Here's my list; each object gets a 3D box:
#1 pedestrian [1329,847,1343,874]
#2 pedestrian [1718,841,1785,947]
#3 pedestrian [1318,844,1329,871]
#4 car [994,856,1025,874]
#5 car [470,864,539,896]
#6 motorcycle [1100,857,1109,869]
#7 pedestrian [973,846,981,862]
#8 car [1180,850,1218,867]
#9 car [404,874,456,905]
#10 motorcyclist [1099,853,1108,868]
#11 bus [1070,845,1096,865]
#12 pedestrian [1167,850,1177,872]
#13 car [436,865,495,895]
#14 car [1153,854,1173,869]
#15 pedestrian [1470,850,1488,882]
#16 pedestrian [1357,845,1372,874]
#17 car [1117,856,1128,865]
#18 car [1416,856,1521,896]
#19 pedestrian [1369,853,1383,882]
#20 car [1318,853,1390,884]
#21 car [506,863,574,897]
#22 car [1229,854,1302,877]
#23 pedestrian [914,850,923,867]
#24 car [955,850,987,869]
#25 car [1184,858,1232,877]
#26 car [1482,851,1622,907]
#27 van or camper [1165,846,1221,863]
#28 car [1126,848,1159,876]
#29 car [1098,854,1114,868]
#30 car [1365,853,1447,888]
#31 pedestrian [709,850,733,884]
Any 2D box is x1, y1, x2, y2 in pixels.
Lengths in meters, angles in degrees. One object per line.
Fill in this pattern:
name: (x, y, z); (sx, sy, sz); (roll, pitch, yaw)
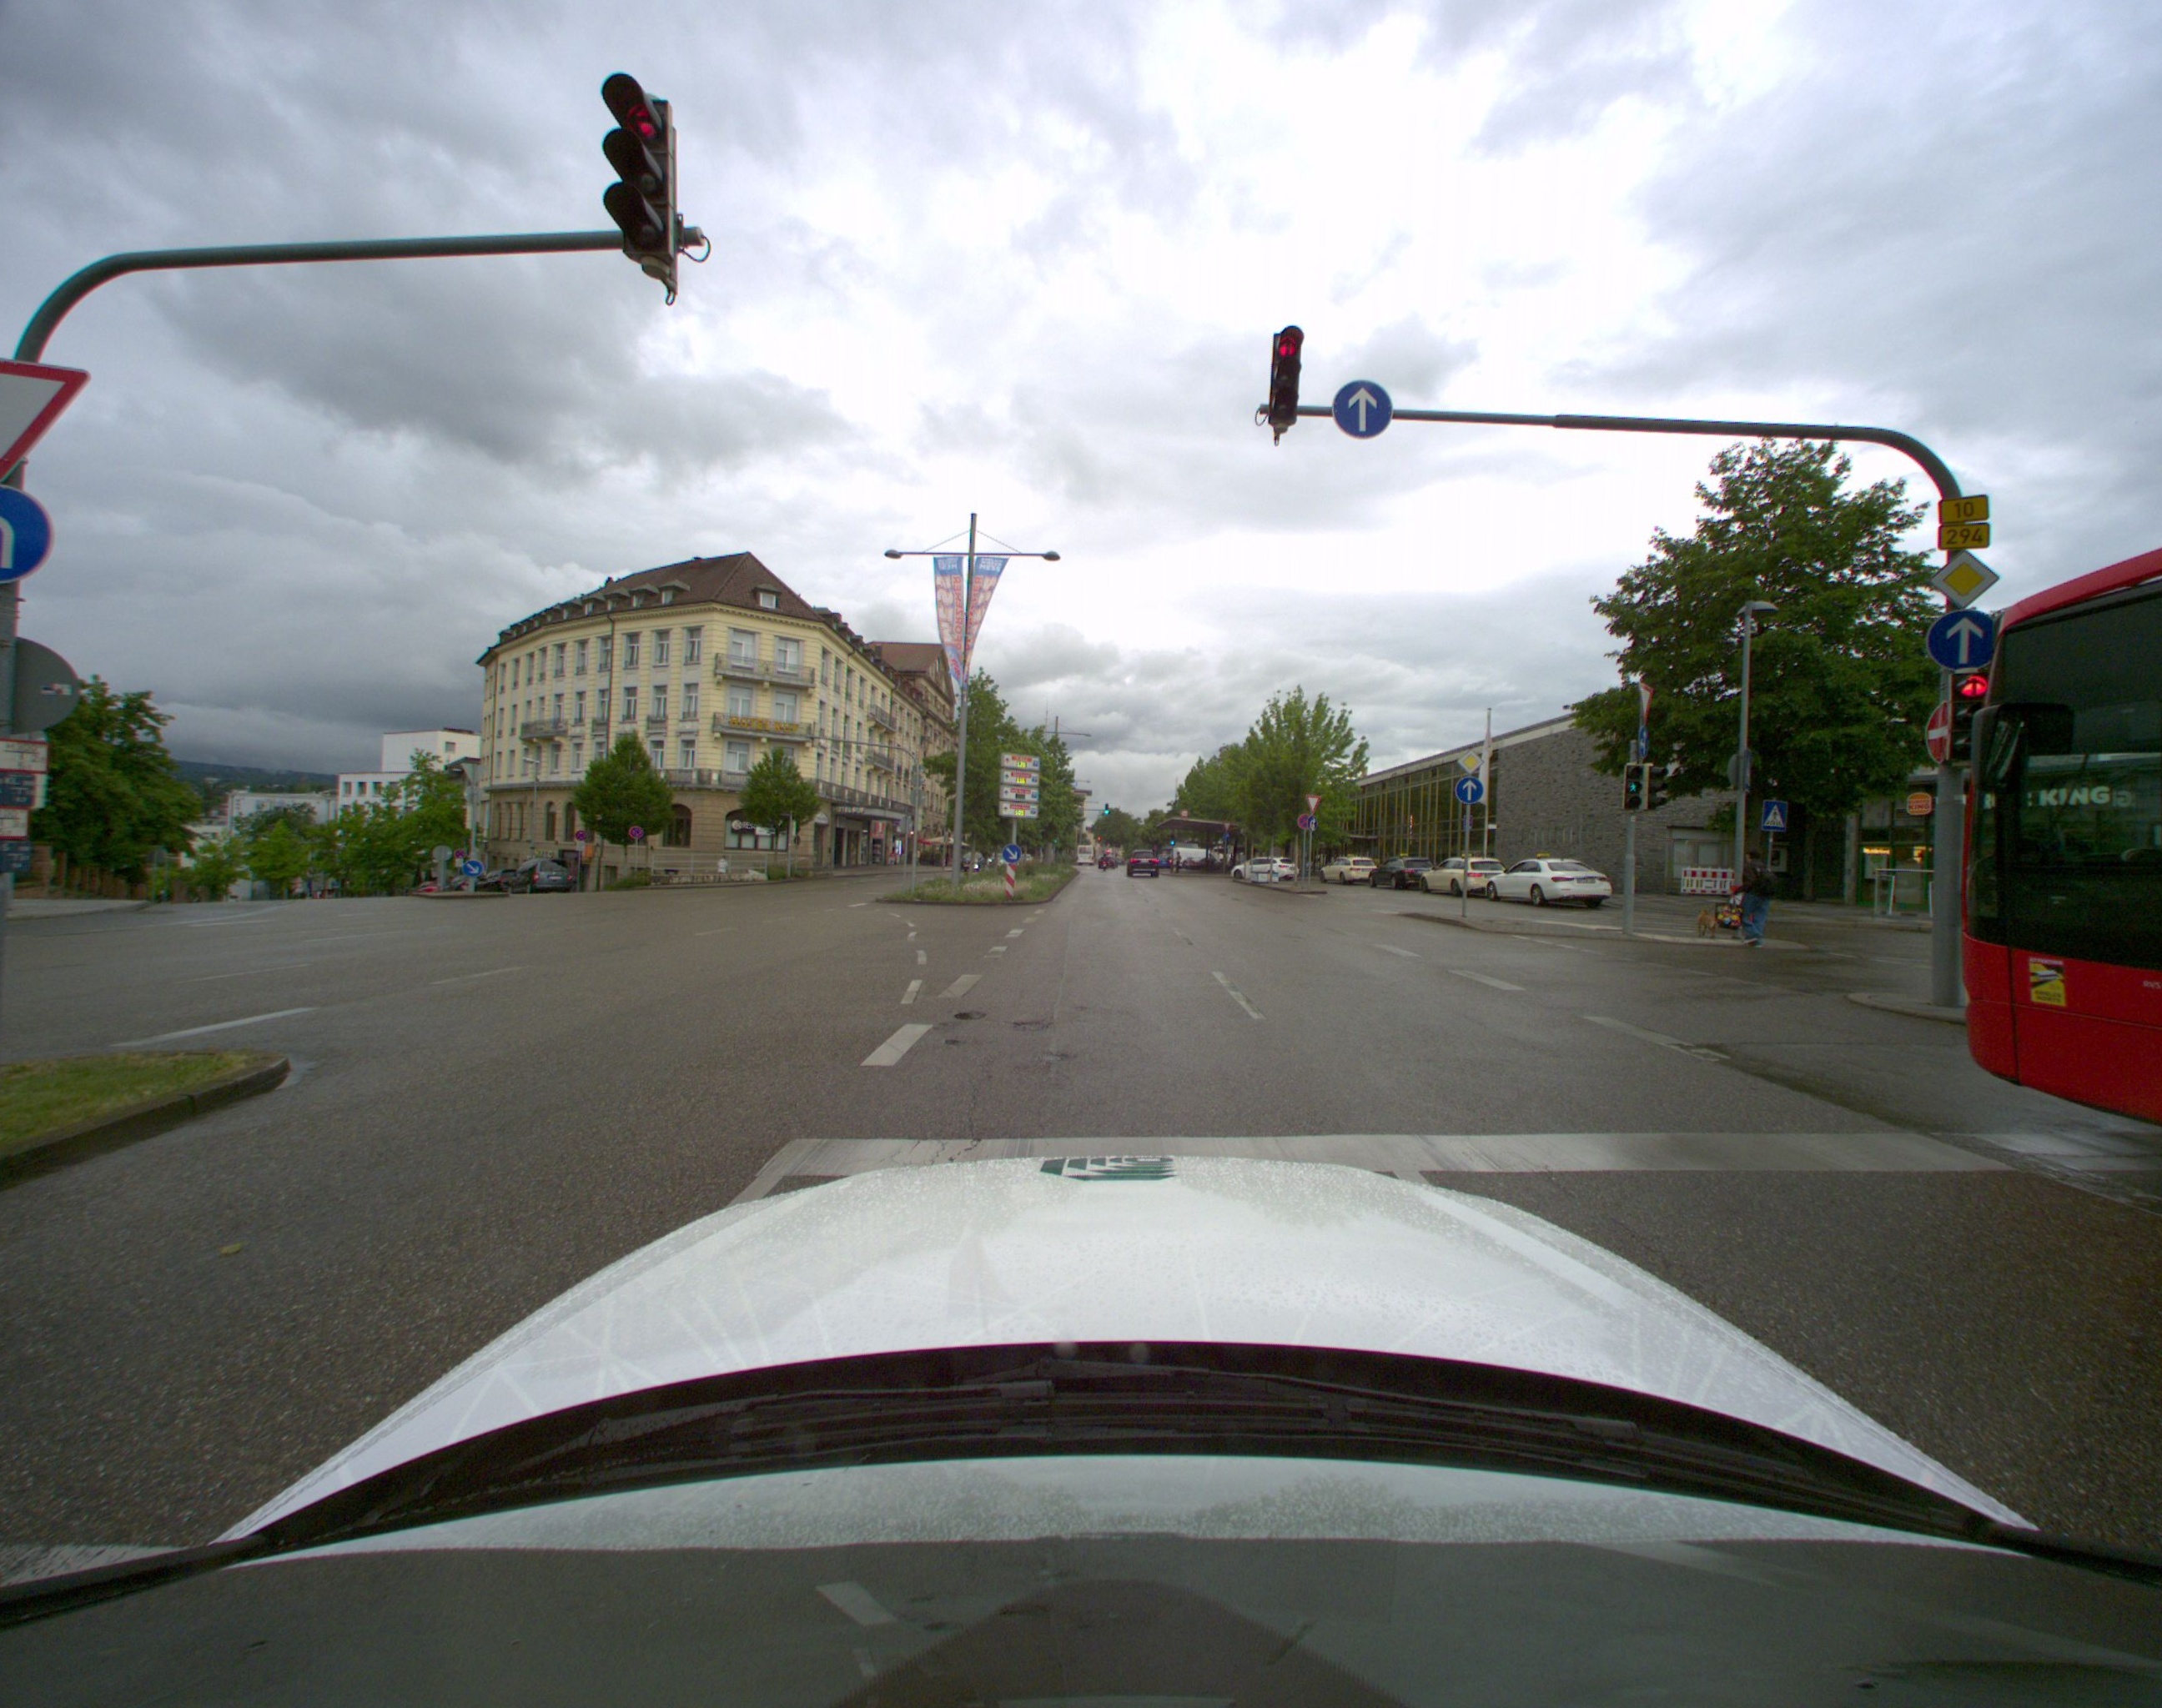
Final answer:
pedestrian: (19.042, 0.453, 60.881); (0.767, 2.014, 0.828); (0, 0, 0)
pedestrian: (10.999, 0.636, 13.389); (0.800, 1.674, 0.717); (0, 0, 36)
pedestrian: (21.833, 0.300, 73.314); (0.839, 2.411, 0.863); (0, 0, 3)
car: (-5.888, 0.890, 67.644); (1.716, 1.381, 4.866); (0, 0, 5)
car: (-31.971, 1.417, 45.117); (3.948, 1.640, 2.013); (-1, -1, 37)
motorcycle: (2.055, 0.789, 71.824); (0.763, 1.077, 2.176); (0, 0, 2)
pedestrian: (-10.940, 0.035, 85.489); (0.672, 1.701, 0.634); (0, -1, 1)
car: (14.019, 0.528, 96.516); (3.998, 2.013, 1.988); (0, 0, -18)
car: (-41.190, 2.211, 51.498); (3.575, 1.812, 1.788); (0, 0, 38)
motorcyclist: (2.021, 0.558, 71.873); (0.761, 1.331, 0.867); (0, 0, 2)
bus: (0.220, 0.175, 136.549); (3.751, 3.209, 15.512); (0, 0, -2)
pedestrian: (7.428, 0.599, 66.565); (0.717, 1.791, 0.663); (0, 0, -10)
car: (-36.314, 1.494, 48.039); (3.864, 1.640, 1.805); (0, 0, 37)
car: (8.555, 0.758, 85.385); (1.809, 1.530, 4.001); (0, 0, 2)
pedestrian: (20.280, 0.606, 41.536); (0.563, 1.646, 0.715); (0, 0, -3)
pedestrian: (19.962, 0.409, 57.292); (0.767, 2.014, 0.828); (0, 0, 0)
car: (6.956, 1.062, 137.207); (1.702, 1.474, 4.001); (0, 0, 2)
car: (14.785, 0.789, 31.385); (1.840, 1.452, 4.666); (0, 0, 0)
pedestrian: (17.132, 0.778, 47.302); (0.563, 1.710, 0.715); (0, 0, -3)
car: (14.680, 0.738, 44.105); (1.990, 1.600, 4.814); (0, 0, -5)
car: (-27.102, 1.273, 40.777); (3.949, 1.568, 1.812); (0, 0, 41)
car: (11.497, 0.718, 50.965); (1.788, 1.385, 4.318); (0, 0, -39)
pedestrian: (-15.024, 0.404, 75.265); (0.666, 1.510, 0.513); (0, -1, -36)
car: (-8.952, 0.429, 66.542); (1.763, 1.530, 4.083); (0, 0, 4)
car: (12.818, 1.387, 82.148); (4.348, 1.857, 1.988); (0, 0, -18)
car: (14.646, 0.723, 25.666); (1.768, 1.589, 4.615); (0, 0, 0)
van or camper: (14.147, 0.084, 102.670); (6.787, 2.014, 2.366); (0, -1, -25)
car: (4.144, 0.509, 55.453); (1.986, 1.806, 4.691); (0, 0, 2)
car: (2.728, 0.763, 87.708); (1.702, 1.448, 4.001); (0, 0, 2)
car: (14.883, 0.713, 37.611); (1.907, 1.524, 4.741); (0, 0, 0)
pedestrian: (-20.357, 0.710, 46.056); (0.860, 1.878, 1.023); (0, 0, 1)
